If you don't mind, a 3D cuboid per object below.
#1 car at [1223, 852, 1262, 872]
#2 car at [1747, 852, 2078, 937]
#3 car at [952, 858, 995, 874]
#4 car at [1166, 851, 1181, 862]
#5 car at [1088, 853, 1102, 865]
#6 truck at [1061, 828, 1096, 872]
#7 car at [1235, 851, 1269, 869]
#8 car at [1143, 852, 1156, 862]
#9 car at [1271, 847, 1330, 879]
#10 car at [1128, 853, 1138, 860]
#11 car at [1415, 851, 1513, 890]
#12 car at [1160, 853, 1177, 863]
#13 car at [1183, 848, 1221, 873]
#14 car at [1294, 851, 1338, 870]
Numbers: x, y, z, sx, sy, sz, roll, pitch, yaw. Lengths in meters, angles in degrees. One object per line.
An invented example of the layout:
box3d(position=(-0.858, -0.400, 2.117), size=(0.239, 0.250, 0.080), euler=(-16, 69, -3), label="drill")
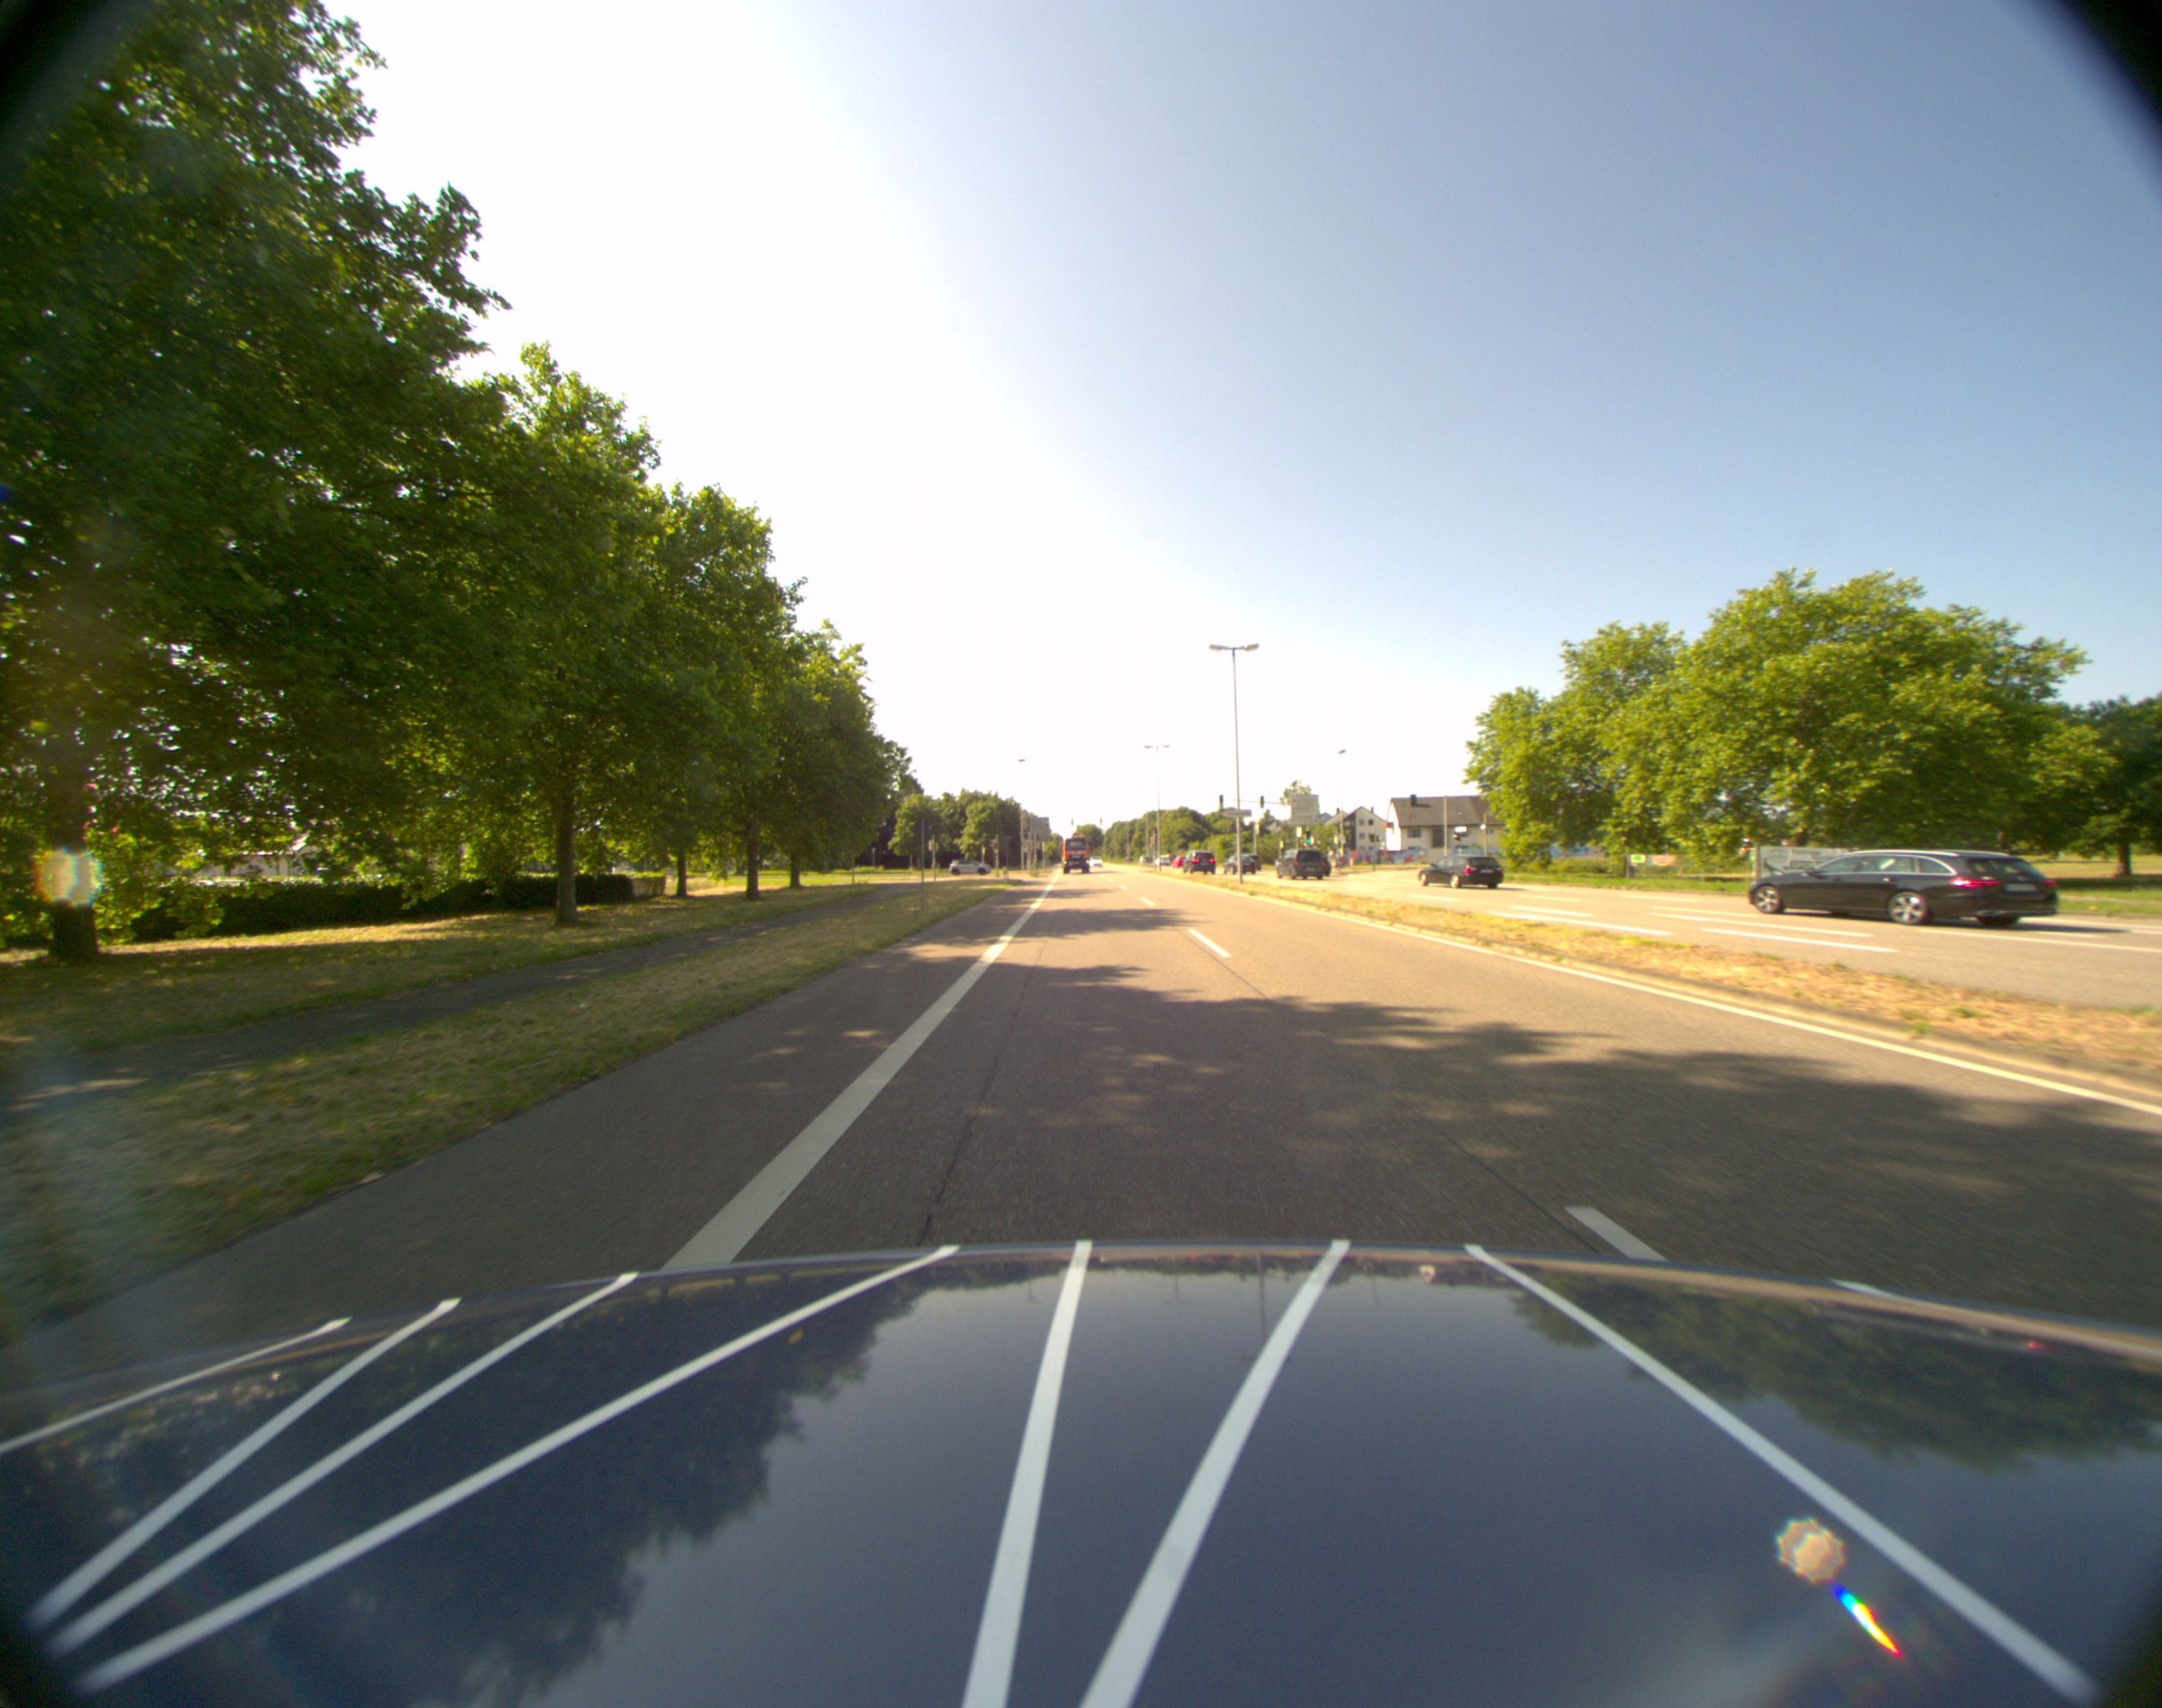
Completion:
box3d(position=(12.116, 0.590, 57.207), size=(1.986, 1.449, 4.449), euler=(1, 0, 0), label="car")
box3d(position=(16.420, 0.705, 15.454), size=(1.835, 1.457, 4.469), euler=(-1, 0, 0), label="car")
box3d(position=(-10.774, 1.226, 76.547), size=(4.062, 1.555, 1.742), euler=(-1, 0, -1), label="car")
box3d(position=(14.980, 0.338, 123.174), size=(1.709, 1.759, 4.227), euler=(0, 0, -4), label="car")
box3d(position=(1.991, 0.699, 107.677), size=(1.869, 1.499, 4.336), euler=(-1, 0, 0), label="car")
box3d(position=(-0.272, -0.384, 72.099), size=(2.941, 3.852, 6.590), euler=(-3, 1, -1), label="truck")
box3d(position=(15.803, 0.545, 70.416), size=(2.077, 1.613, 4.488), euler=(1, 0, -1), label="car")
box3d(position=(11.030, 0.468, 121.962), size=(1.623, 1.449, 3.870), euler=(-1, 0, -1), label="car")
box3d(position=(12.697, 0.494, 44.256), size=(1.986, 1.769, 4.488), euler=(-1, 0, -2), label="car")
box3d(position=(10.953, 0.426, 160.282), size=(1.986, 1.449, 4.332), euler=(0, 0, 1), label="car")
box3d(position=(16.041, 0.656, 32.130), size=(1.867, 1.536, 4.405), euler=(0, 0, -1), label="car")
box3d(position=(12.155, 0.528, 105.606), size=(1.833, 1.378, 3.842), euler=(-1, 0, -2), label="car")
box3d(position=(8.878, 0.445, 56.030), size=(1.986, 1.740, 4.507), euler=(1, 0, -1), label="car")
box3d(position=(19.347, 0.506, 62.780), size=(2.077, 1.520, 4.684), euler=(0, 0, -2), label="car")
